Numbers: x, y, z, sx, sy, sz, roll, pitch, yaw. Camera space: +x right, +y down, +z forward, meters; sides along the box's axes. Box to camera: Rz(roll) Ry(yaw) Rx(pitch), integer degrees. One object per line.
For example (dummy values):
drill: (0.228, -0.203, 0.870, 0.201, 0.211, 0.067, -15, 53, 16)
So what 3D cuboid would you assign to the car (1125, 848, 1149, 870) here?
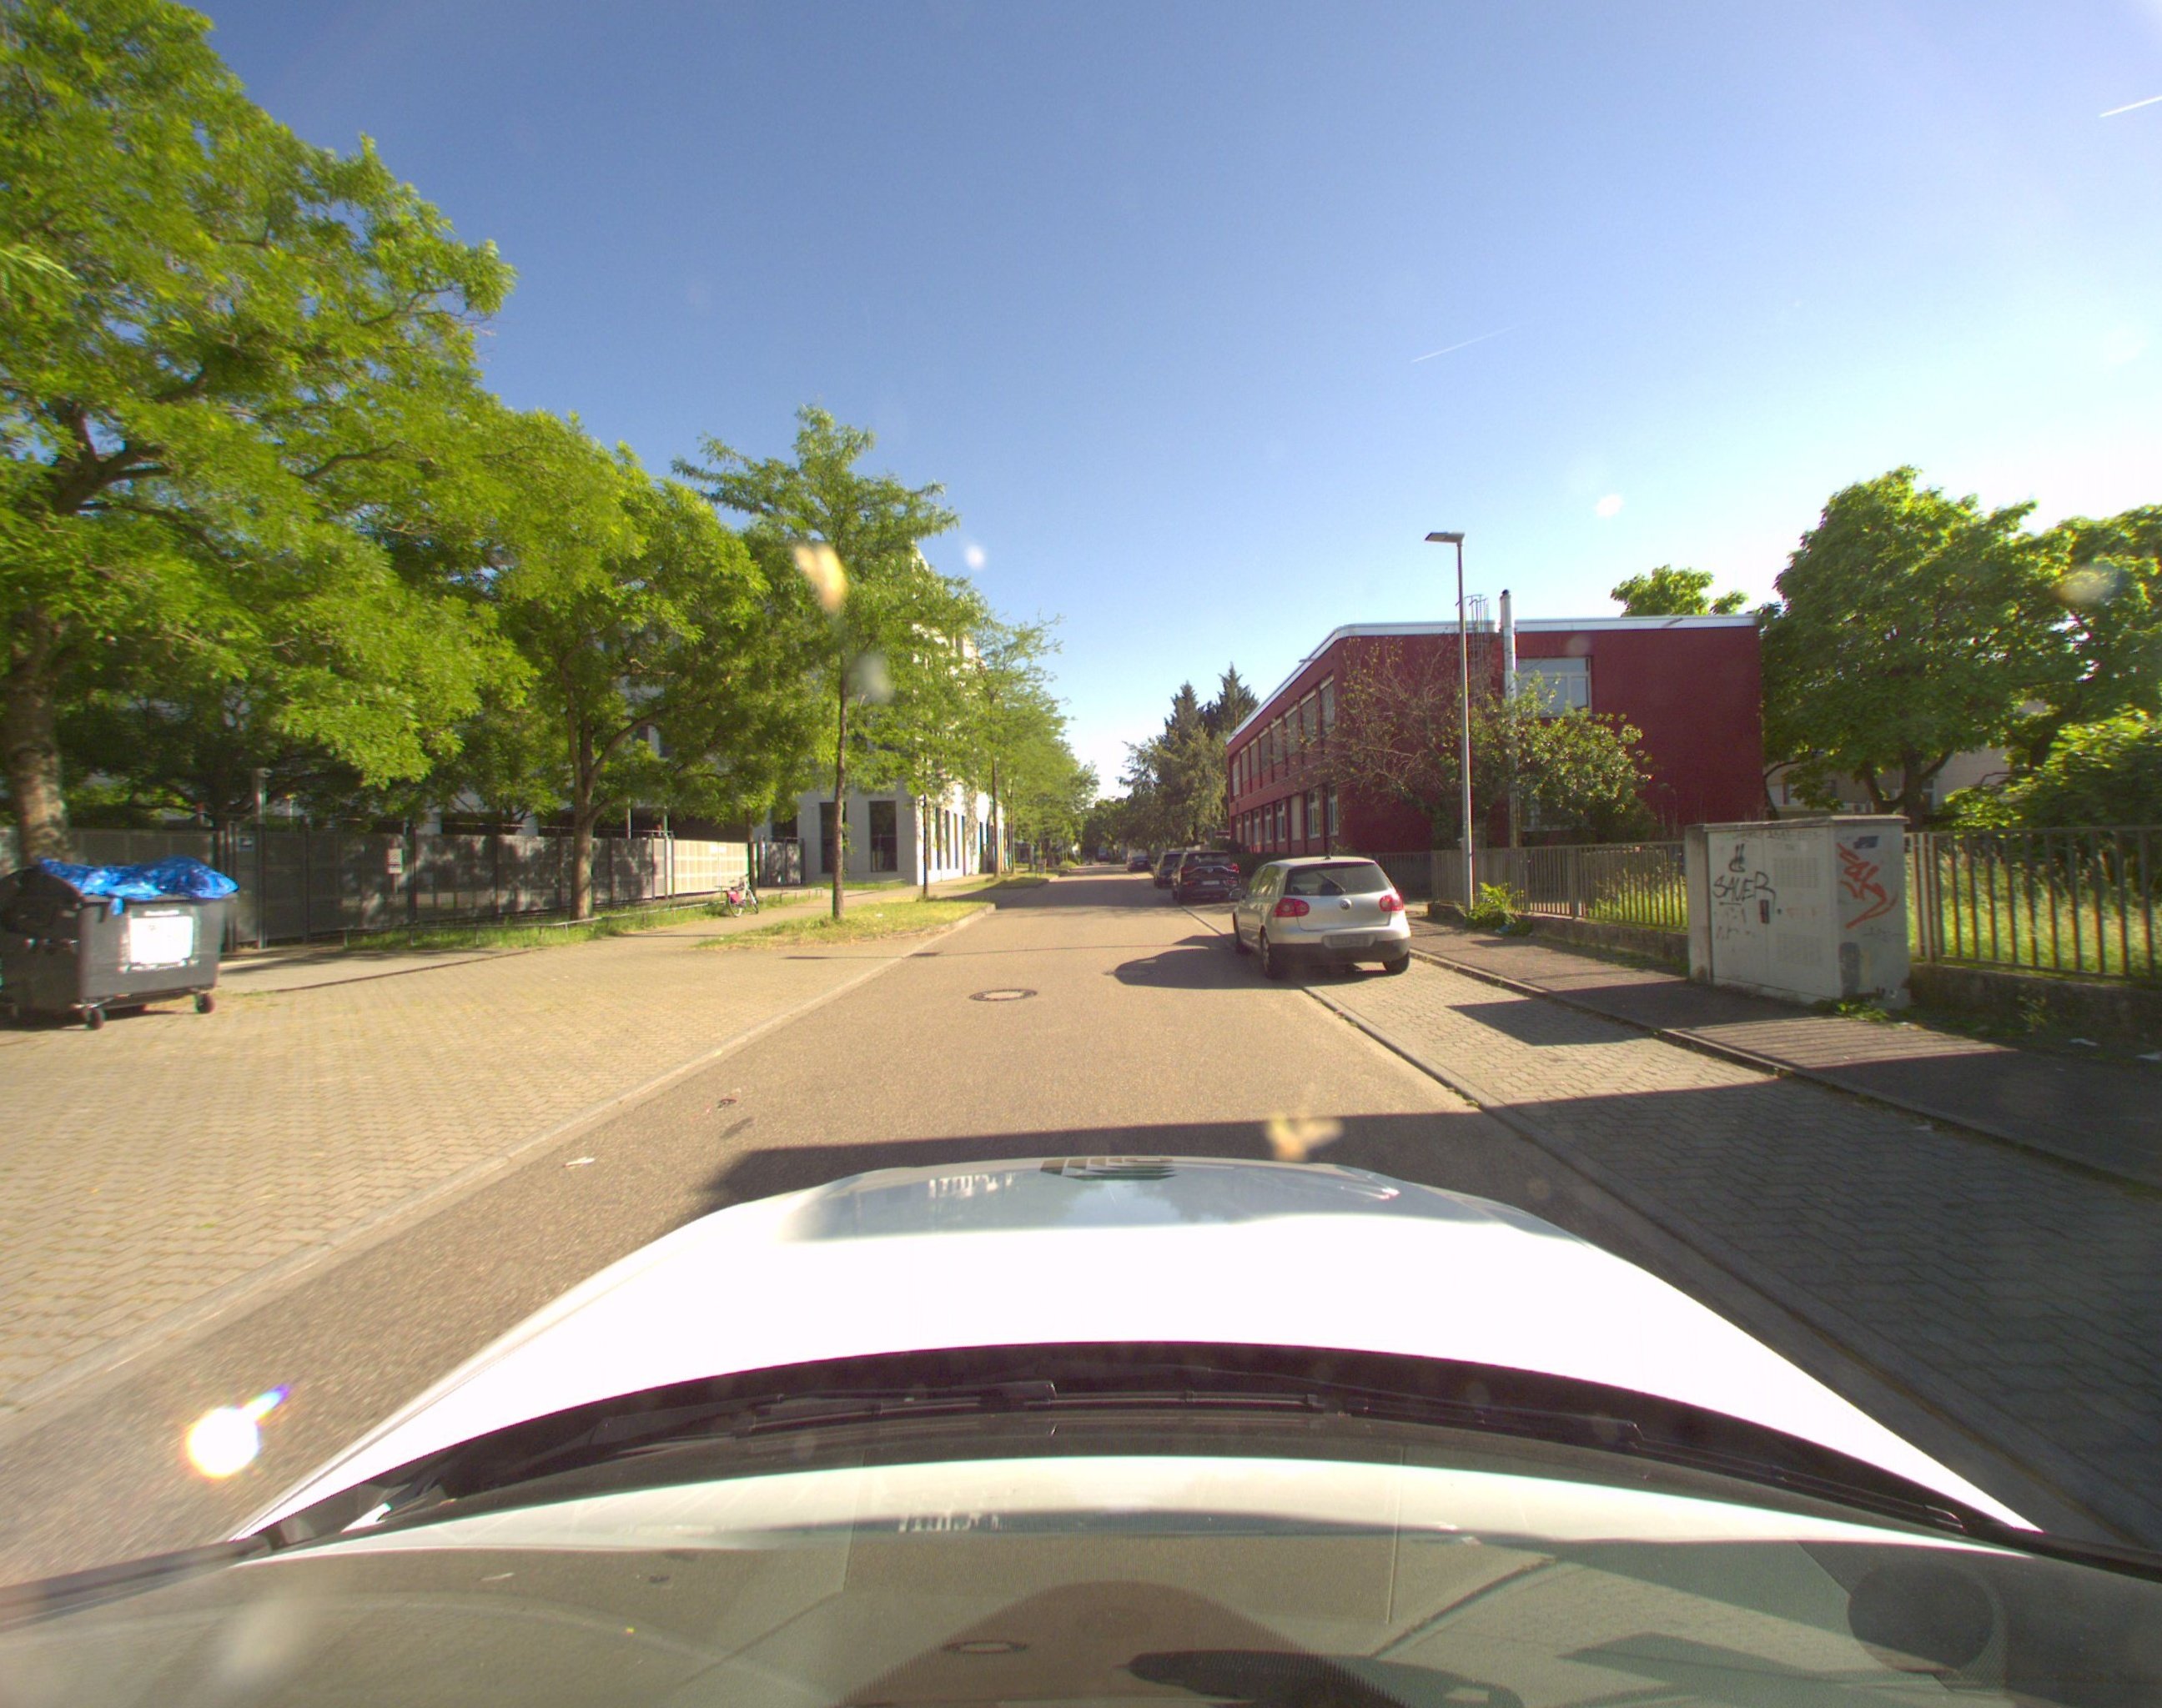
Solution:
car: (5.191, 0.453, 75.427, 1.986, 1.834, 4.002, -5, 0, 2)

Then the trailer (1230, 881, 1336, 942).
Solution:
trailer: (3.891, 1.023, 15.418, 1.359, 0.912, 2.955, -1, 0, 25)

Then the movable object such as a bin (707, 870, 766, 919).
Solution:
movable object such as a bin: (-9.105, 1.046, 21.590, 0.660, 1.181, 1.936, -1, 0, 2)

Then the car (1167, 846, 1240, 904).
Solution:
car: (3.782, 0.612, 25.774, 1.830, 1.634, 4.204, -1, 0, 3)

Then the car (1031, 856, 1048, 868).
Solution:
car: (-5.145, 0.945, 100.927, 1.988, 1.458, 3.791, -1, 0, -1)

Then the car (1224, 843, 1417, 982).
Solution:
car: (3.101, 0.672, 11.334, 1.653, 1.561, 3.937, -1, 0, 2)

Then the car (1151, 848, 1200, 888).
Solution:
car: (4.239, 0.617, 36.940, 1.847, 1.648, 4.002, -2, 0, 2)

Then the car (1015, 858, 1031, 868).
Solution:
car: (-7.966, 1.243, 111.733, 1.900, 1.342, 3.791, -1, 0, -1)

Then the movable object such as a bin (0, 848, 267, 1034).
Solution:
movable object such as a bin: (-9.557, 0.787, 8.013, 1.407, 1.597, 1.524, 3, -2, 5)

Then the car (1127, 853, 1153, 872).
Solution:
car: (5.021, 0.687, 69.643, 1.986, 1.442, 4.002, -5, 0, 2)
